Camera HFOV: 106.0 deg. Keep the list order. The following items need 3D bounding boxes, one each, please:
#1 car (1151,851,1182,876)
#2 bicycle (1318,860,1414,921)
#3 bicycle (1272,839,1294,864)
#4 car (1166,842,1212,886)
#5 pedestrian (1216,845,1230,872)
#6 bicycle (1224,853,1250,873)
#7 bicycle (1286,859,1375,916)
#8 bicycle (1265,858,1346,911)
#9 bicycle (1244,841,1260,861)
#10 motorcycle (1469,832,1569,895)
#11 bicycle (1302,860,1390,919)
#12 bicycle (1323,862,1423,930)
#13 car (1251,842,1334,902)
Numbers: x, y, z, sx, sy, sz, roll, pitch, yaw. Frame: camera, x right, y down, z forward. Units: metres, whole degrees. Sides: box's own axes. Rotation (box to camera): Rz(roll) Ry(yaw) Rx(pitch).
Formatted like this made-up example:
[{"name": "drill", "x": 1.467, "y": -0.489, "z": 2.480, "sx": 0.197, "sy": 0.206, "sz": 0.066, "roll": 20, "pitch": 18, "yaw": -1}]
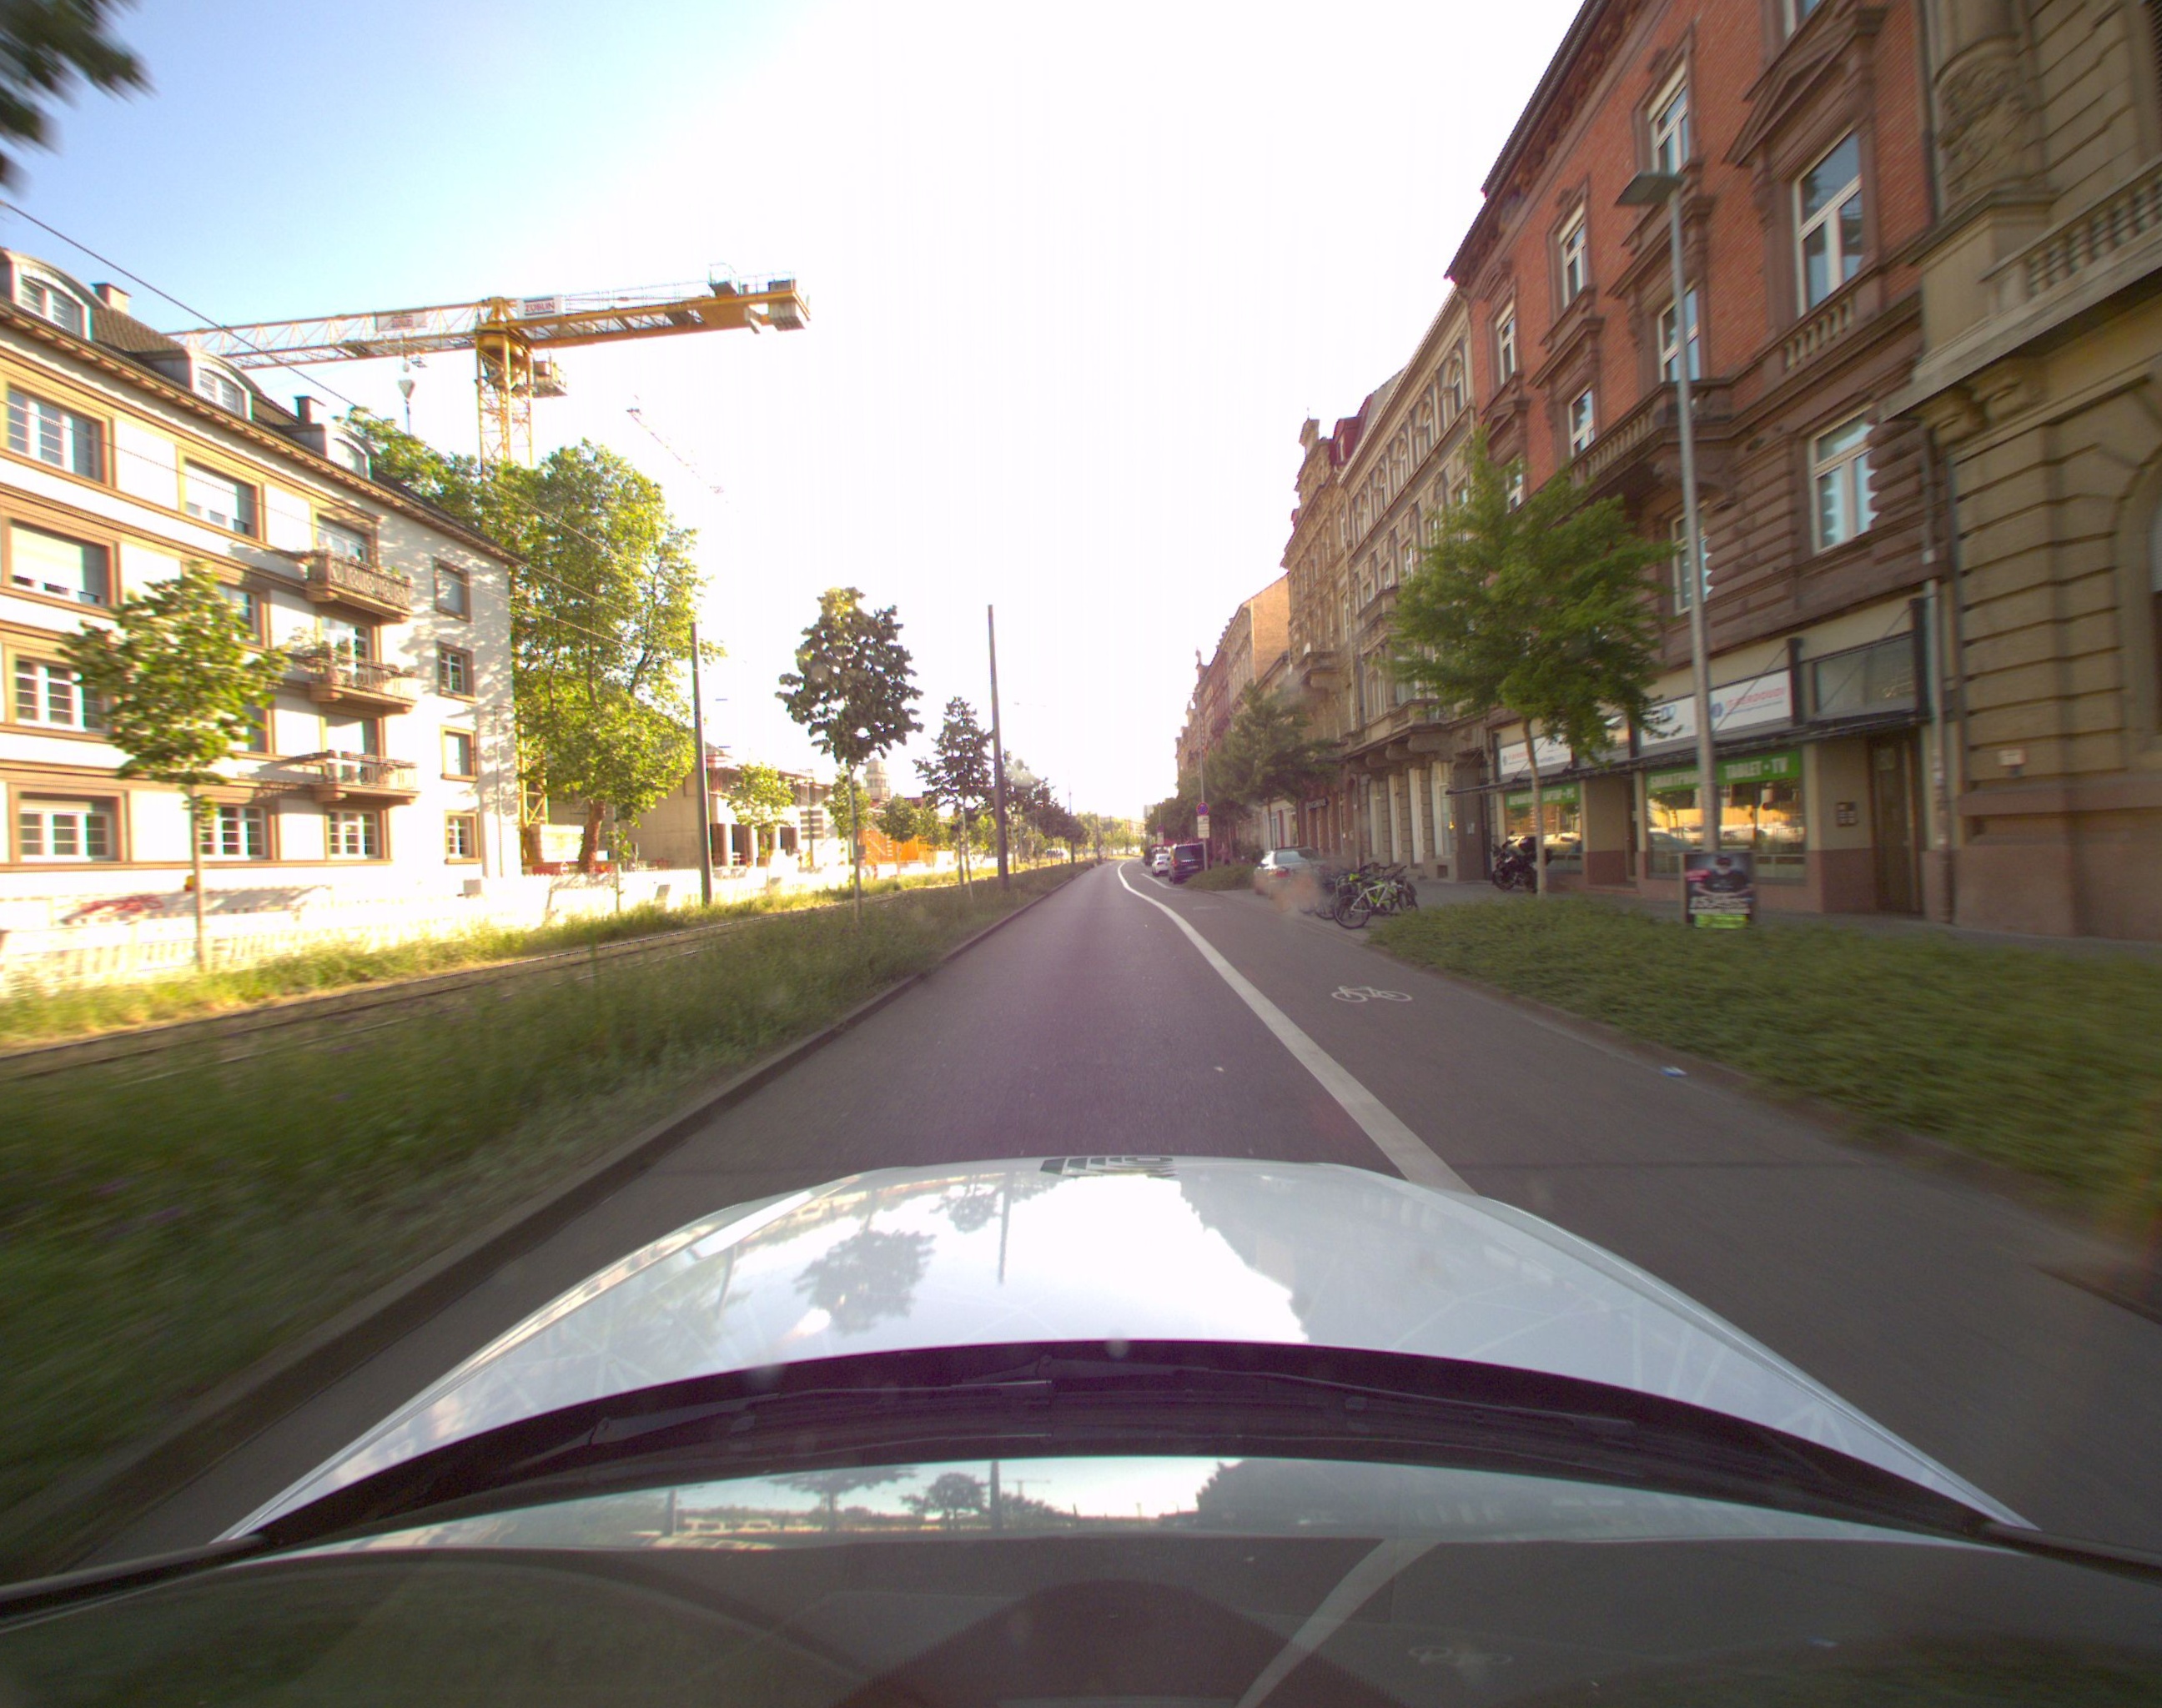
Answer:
[{"name": "car", "x": 5.674, "y": 0.605, "z": 54.544, "sx": 1.842, "sy": 1.457, "sz": 4.160, "roll": -3, "pitch": 1, "yaw": 4}, {"name": "bicycle", "x": 5.618, "y": 0.705, "z": 16.073, "sx": 1.689, "sy": 1.048, "sz": 0.488, "roll": -5, "pitch": 0, "yaw": -6}, {"name": "bicycle", "x": 11.784, "y": -0.161, "z": 47.620, "sx": 0.658, "sy": 1.402, "sz": 2.353, "roll": -3, "pitch": 1, "yaw": 1}, {"name": "car", "x": 5.408, "y": 0.448, "z": 41.231, "sx": 1.877, "sy": 1.937, "sz": 4.478, "roll": -3, "pitch": 1, "yaw": 4}, {"name": "pedestrian", "x": 7.832, "y": 0.239, "z": 44.923, "sx": 0.623, "sy": 1.459, "sz": 0.638, "roll": -3, "pitch": 0, "yaw": 2}, {"name": "bicycle", "x": 9.262, "y": 0.521, "z": 48.489, "sx": 1.077, "sy": 1.084, "sz": 2.771, "roll": -3, "pitch": 0, "yaw": 1}, {"name": "bicycle", "x": 5.417, "y": 0.721, "z": 17.734, "sx": 1.685, "sy": 1.048, "sz": 0.490, "roll": -6, "pitch": 0, "yaw": 2}, {"name": "bicycle", "x": 5.262, "y": 0.703, "z": 19.131, "sx": 1.685, "sy": 1.048, "sz": 0.490, "roll": -6, "pitch": 0, "yaw": 2}, {"name": "bicycle", "x": 12.369, "y": -0.212, "z": 58.994, "sx": 0.658, "sy": 1.402, "sz": 2.353, "roll": -3, "pitch": 1, "yaw": 1}, {"name": "motorcycle", "x": 10.291, "y": 0.180, "z": 19.295, "sx": 0.792, "sy": 1.308, "sz": 2.853, "roll": -5, "pitch": 1, "yaw": 2}, {"name": "bicycle", "x": 5.404, "y": 0.716, "z": 16.616, "sx": 1.574, "sy": 1.048, "sz": 0.488, "roll": -5, "pitch": 0, "yaw": -6}, {"name": "bicycle", "x": 5.245, "y": 0.745, "z": 14.654, "sx": 1.574, "sy": 1.048, "sz": 0.488, "roll": -5, "pitch": 0, "yaw": -6}, {"name": "car", "x": 6.285, "y": 0.478, "z": 24.618, "sx": 1.629, "sy": 1.486, "sz": 4.217, "roll": -5, "pitch": 1, "yaw": 5}]
